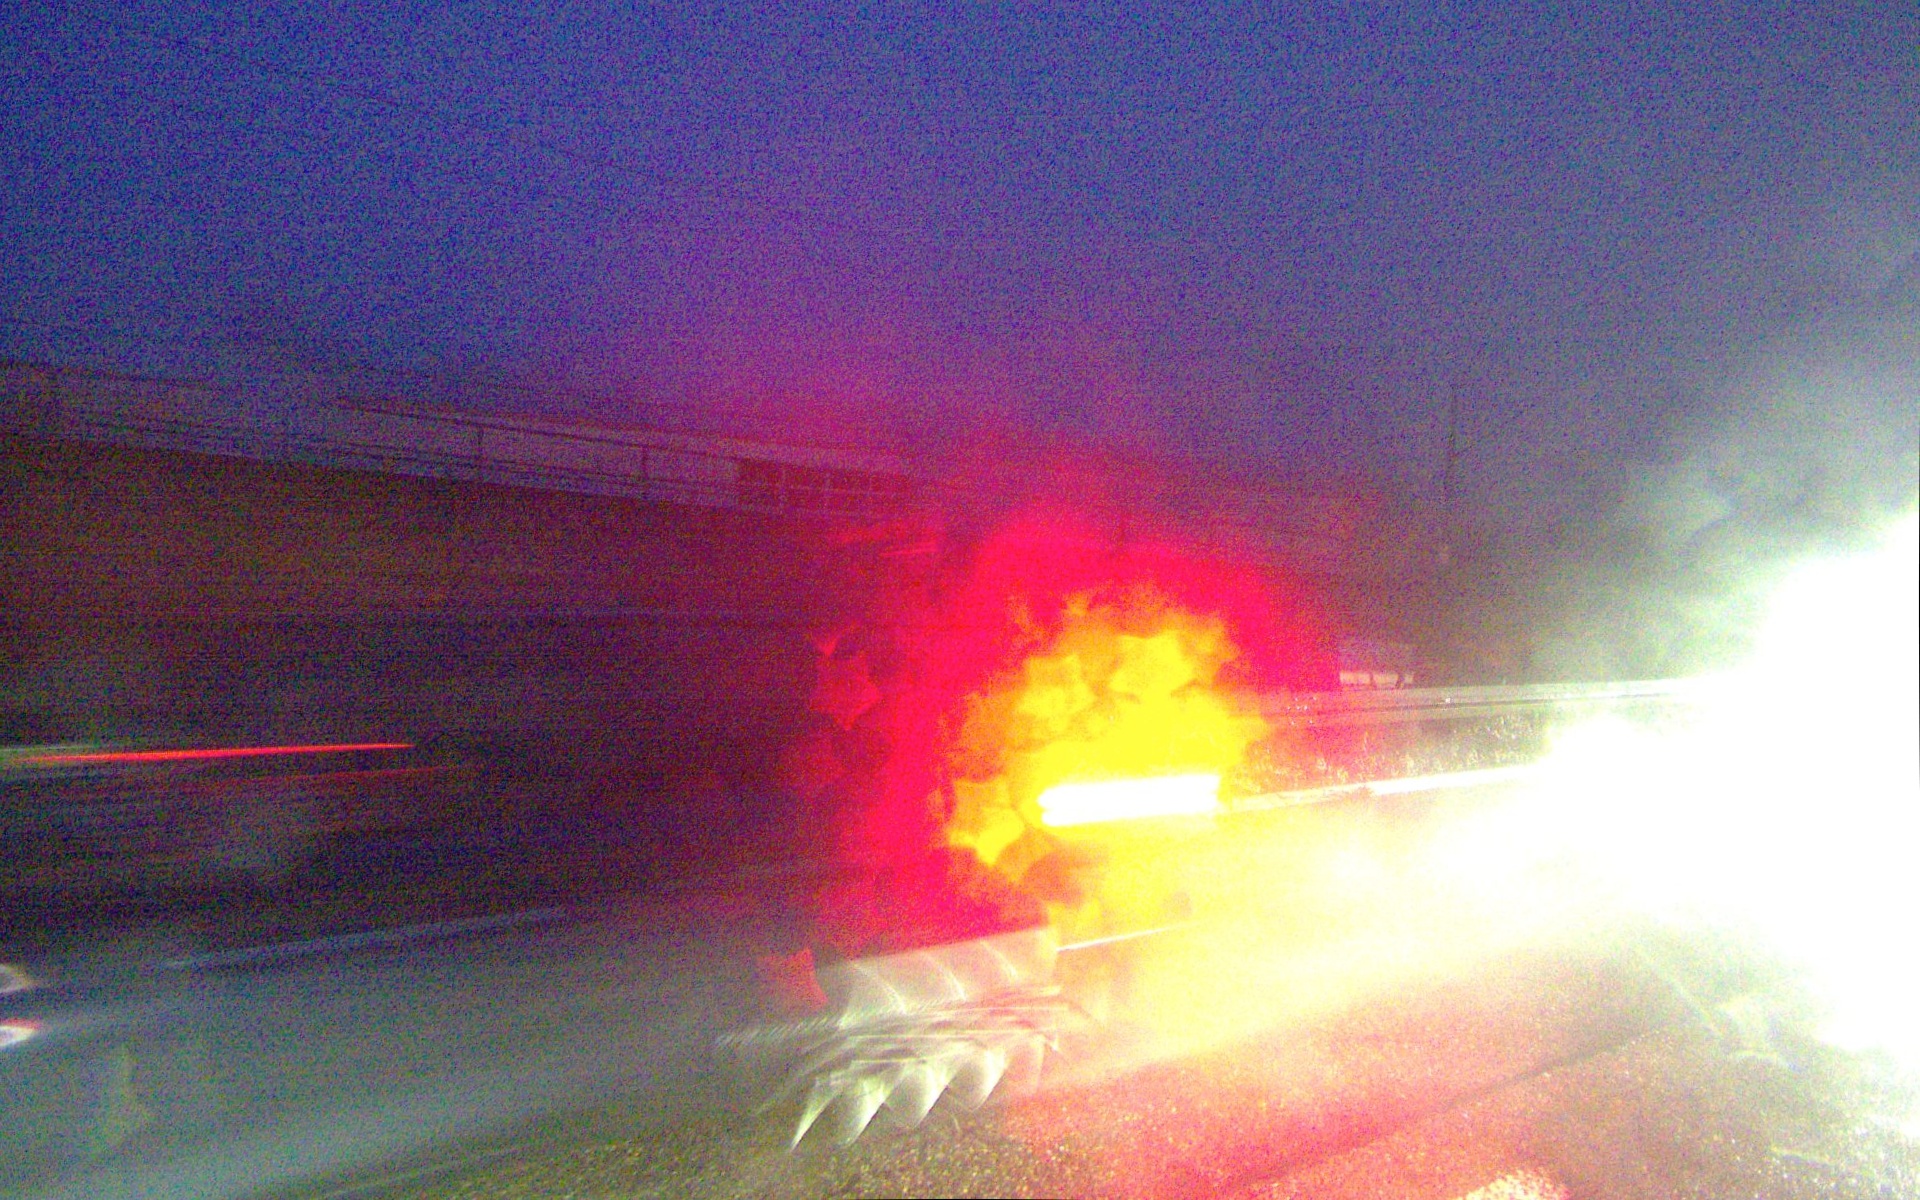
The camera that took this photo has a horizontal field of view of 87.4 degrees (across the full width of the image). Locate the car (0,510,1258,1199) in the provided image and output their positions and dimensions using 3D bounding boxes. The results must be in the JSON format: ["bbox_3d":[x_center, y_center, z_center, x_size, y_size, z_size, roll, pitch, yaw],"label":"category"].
[{"bbox_3d":[-1.316,0.636,2.916,4.208,1.566,1.828,1,0,-31],"label":"car"}]
